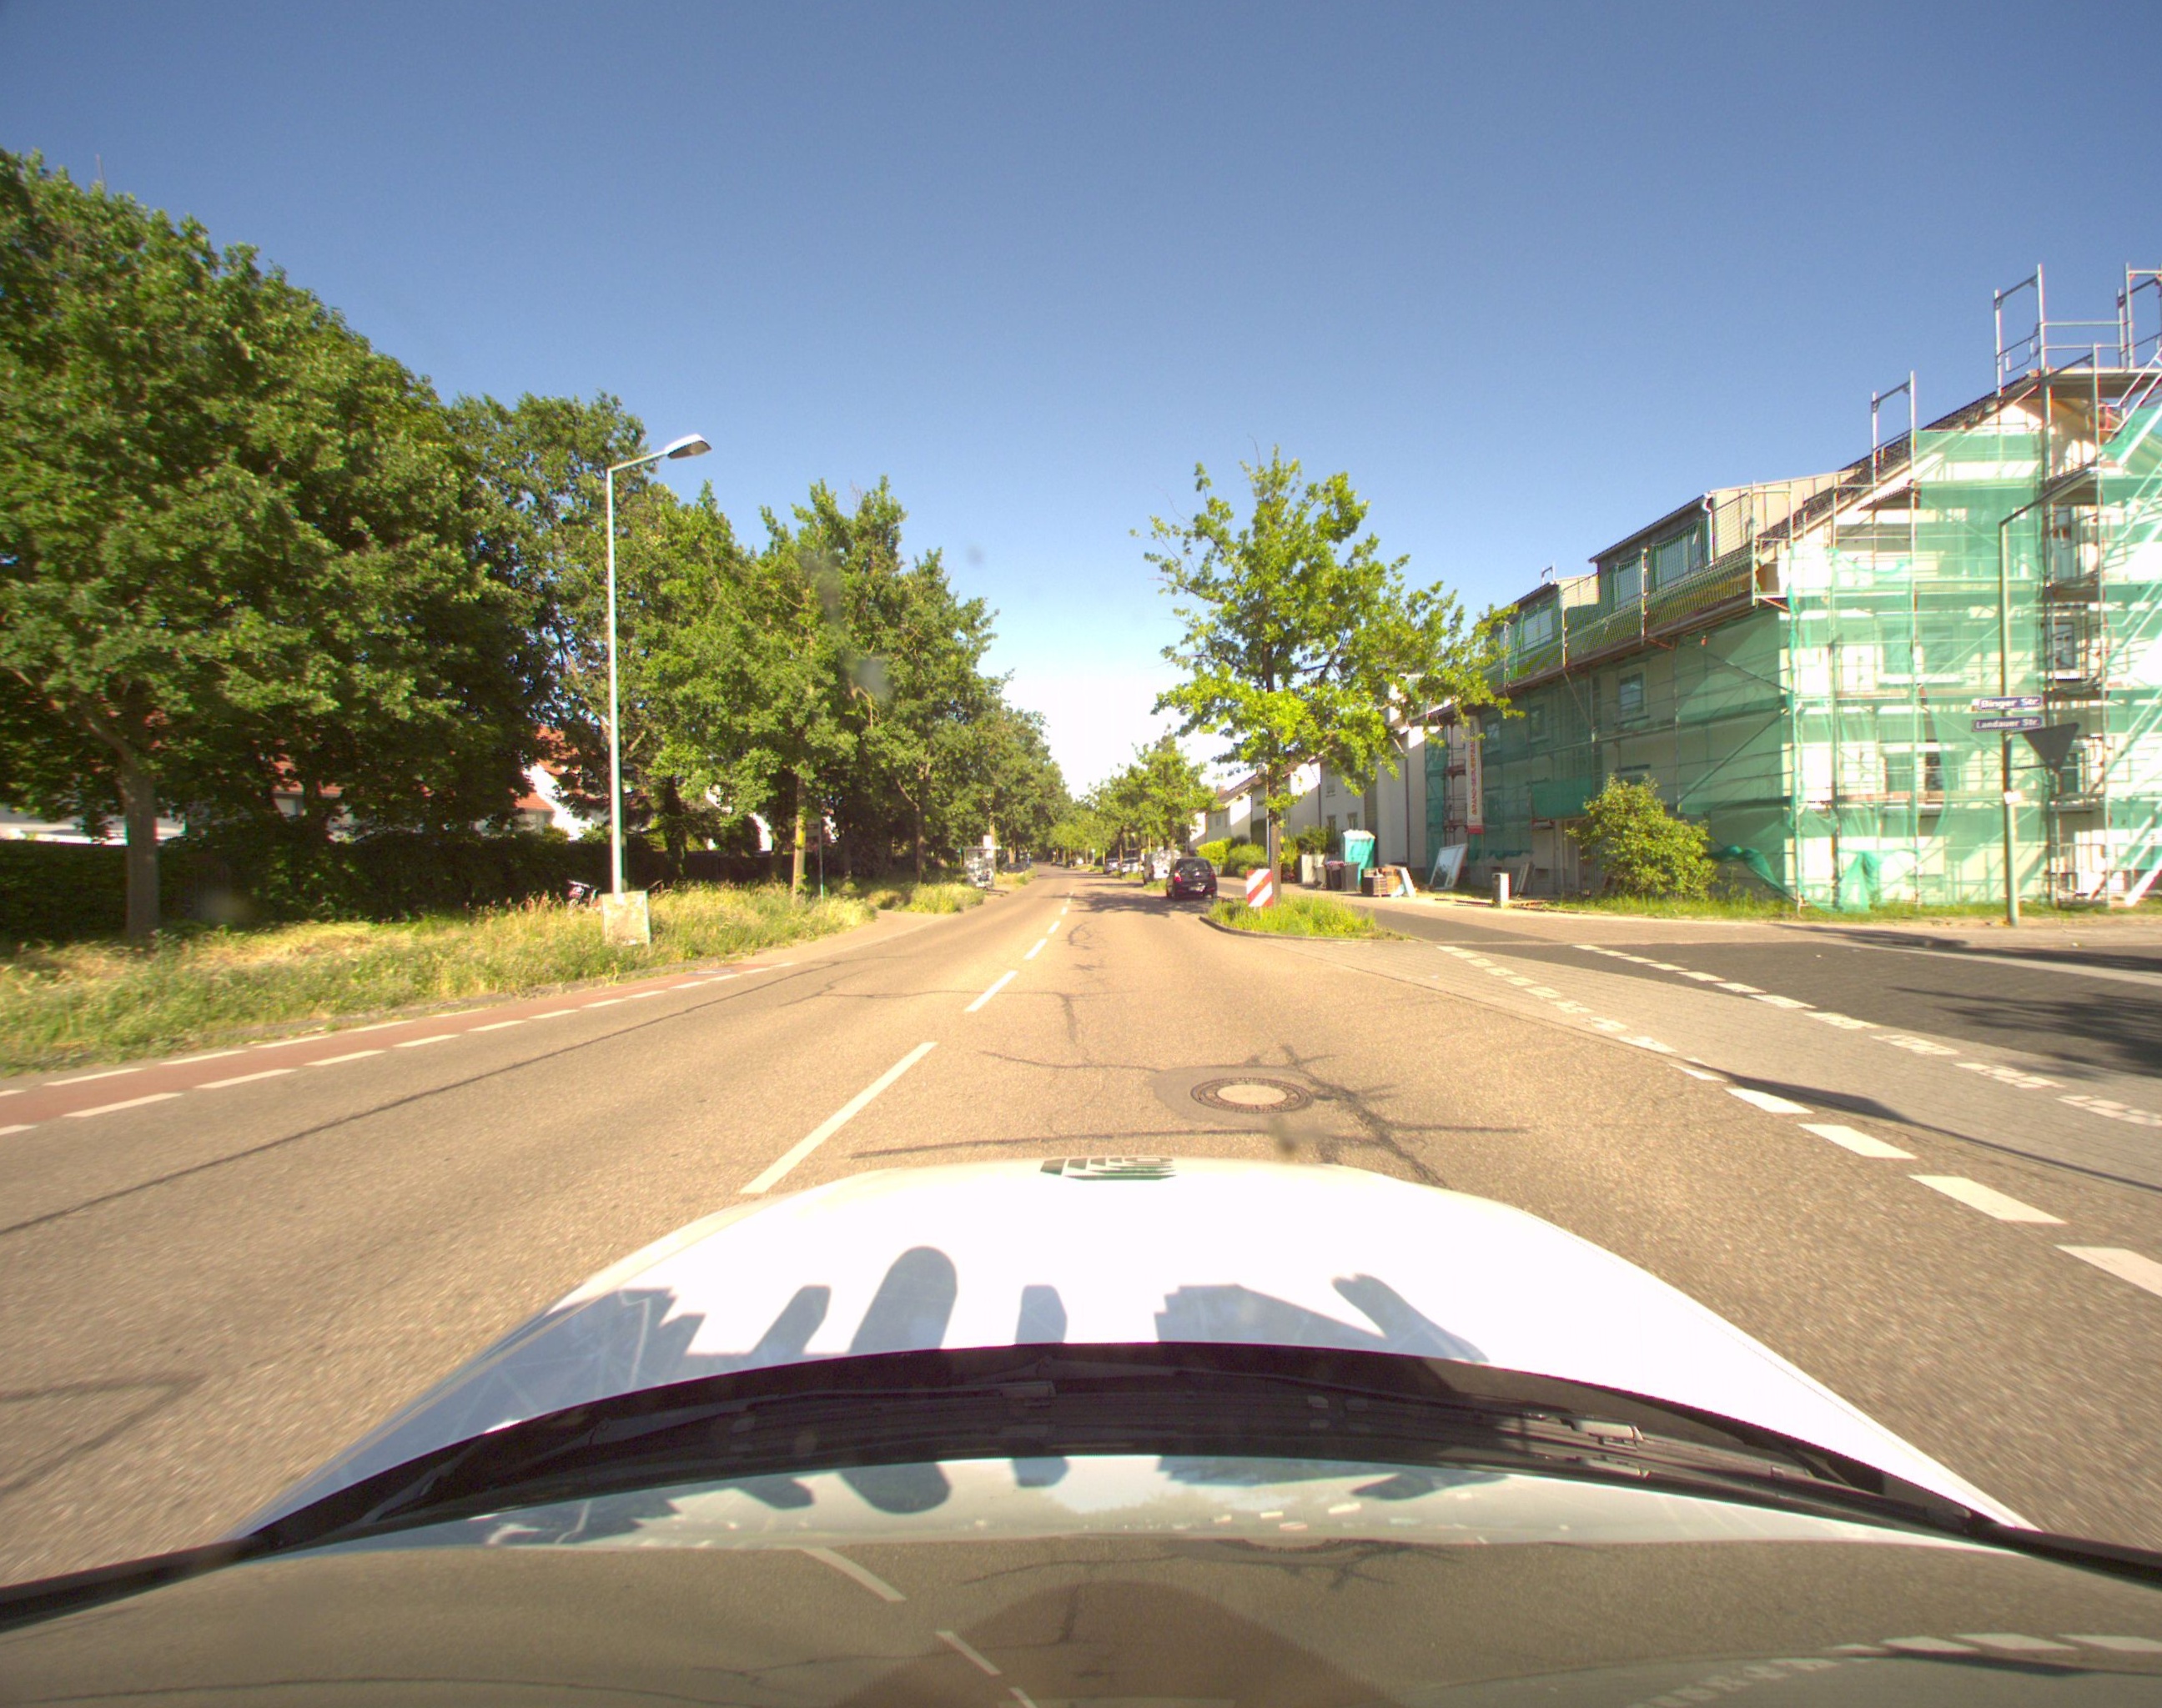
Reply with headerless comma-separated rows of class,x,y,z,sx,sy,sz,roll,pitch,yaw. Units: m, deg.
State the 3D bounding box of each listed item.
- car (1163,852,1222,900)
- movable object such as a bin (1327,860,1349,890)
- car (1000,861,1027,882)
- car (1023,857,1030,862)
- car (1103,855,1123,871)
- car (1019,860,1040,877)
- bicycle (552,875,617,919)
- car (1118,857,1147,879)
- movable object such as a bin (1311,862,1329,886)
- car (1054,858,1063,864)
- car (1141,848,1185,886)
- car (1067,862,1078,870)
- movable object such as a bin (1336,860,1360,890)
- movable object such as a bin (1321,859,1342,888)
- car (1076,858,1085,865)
car,4.131,0.793,30.665,1.667,1.578,3.751,-3,-1,0
movable object such as a bin,9.513,0.772,30.187,0.602,1.069,0.646,-1,-1,-1
car,-5.037,1.290,61.191,1.931,1.479,3.995,-1,-1,-3
car,-16.158,1.526,242.431,1.929,1.454,3.996,-1,-1,-3
car,3.439,0.978,88.747,1.928,1.742,3.997,-1,-1,-2
car,-4.951,1.369,78.425,1.990,1.557,3.994,0,-1,-4
bicycle,-13.095,1.116,21.545,0.503,1.053,1.880,-1,-1,1
car,4.134,1.101,66.097,1.930,1.704,3.997,-1,-1,-2
movable object such as a bin,9.681,0.804,33.002,0.527,0.932,0.549,-1,-1,-1
car,-5.203,1.621,185.932,1.929,1.454,3.996,-1,-1,-3
car,4.575,0.711,45.877,1.830,1.971,4.755,-1,-1,-2
car,-1.617,2.329,157.620,1.928,1.542,3.997,-1,-1,-2
movable object such as a bin,9.577,0.748,29.224,0.602,1.069,0.646,-1,-1,-1
movable object such as a bin,9.538,0.733,30.986,0.602,1.069,0.567,-1,-1,-1
car,-0.143,1.750,183.698,1.929,1.454,3.996,-1,-1,-3
